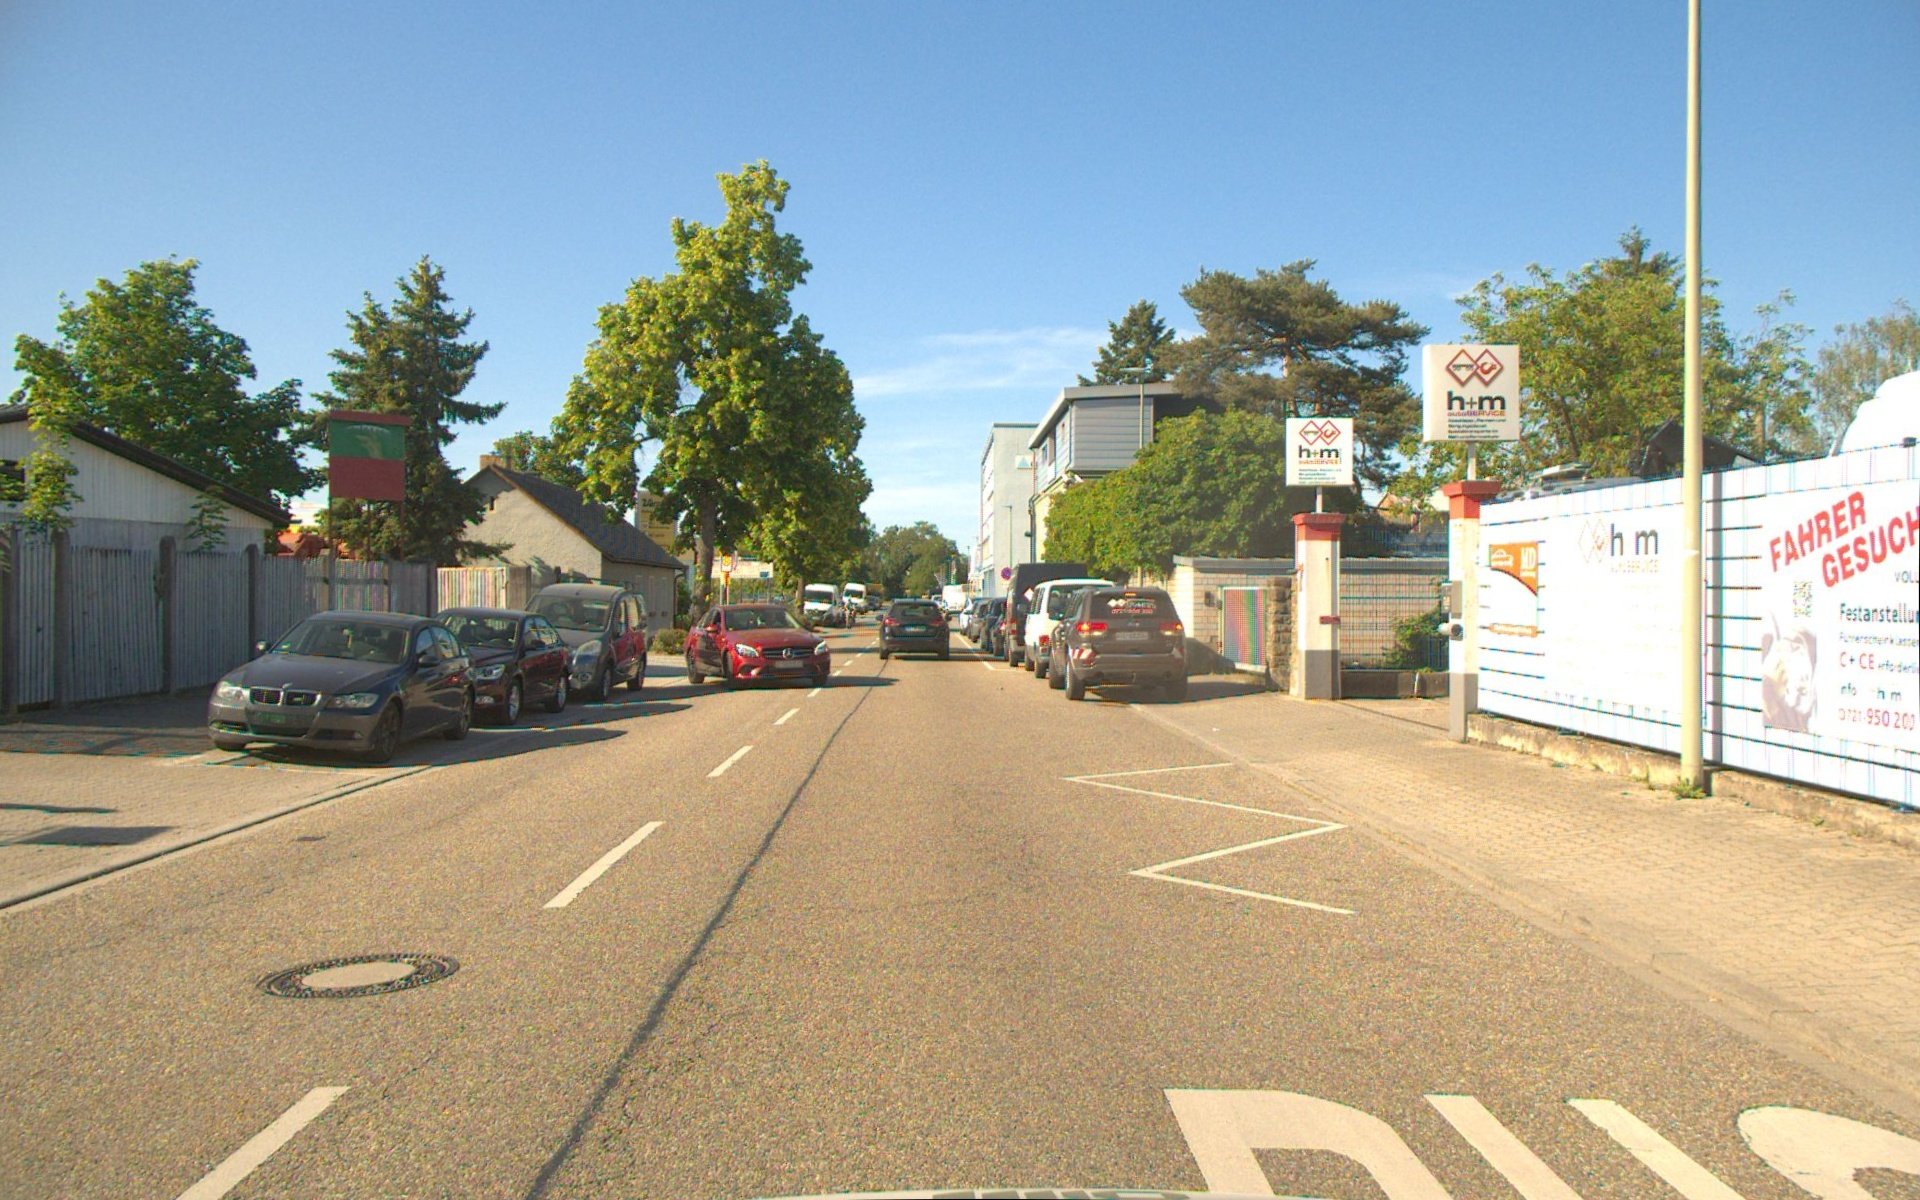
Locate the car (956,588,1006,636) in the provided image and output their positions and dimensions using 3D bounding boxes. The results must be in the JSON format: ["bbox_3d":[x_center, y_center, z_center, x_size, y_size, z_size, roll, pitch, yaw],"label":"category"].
[{"bbox_3d":[0.798,0.466,66.141,1.880,1.857,4.079,0,0,-1],"label":"car"}]

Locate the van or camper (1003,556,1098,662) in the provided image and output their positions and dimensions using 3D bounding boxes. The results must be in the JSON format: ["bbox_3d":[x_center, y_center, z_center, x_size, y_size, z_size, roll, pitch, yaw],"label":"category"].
[{"bbox_3d":[2.072,0.192,38.931,1.953,2.351,3.999,0,0,-1],"label":"van or camper"}]

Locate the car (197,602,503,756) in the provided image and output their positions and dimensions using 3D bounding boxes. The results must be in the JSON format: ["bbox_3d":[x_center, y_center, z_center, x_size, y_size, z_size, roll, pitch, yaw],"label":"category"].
[{"bbox_3d":[-6.471,0.762,18.122,1.721,1.428,4.557,0,0,-1],"label":"car"}]

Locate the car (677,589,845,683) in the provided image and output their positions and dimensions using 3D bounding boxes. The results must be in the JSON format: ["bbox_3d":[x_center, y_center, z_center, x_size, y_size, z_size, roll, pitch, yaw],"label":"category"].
[{"bbox_3d":[-3.648,0.589,29.777,1.852,1.511,4.012,-2,1,-25],"label":"car"}]

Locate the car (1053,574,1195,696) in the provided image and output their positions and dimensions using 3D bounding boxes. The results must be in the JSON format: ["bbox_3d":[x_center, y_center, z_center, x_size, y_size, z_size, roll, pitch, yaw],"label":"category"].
[{"bbox_3d":[2.620,0.528,27.262,1.880,1.857,4.079,0,0,-1],"label":"car"}]

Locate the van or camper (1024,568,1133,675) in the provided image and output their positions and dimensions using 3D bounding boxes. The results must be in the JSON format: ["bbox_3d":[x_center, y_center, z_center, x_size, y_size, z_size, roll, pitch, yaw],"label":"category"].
[{"bbox_3d":[2.349,0.397,33.779,1.880,2.055,4.079,0,0,-1],"label":"van or camper"}]

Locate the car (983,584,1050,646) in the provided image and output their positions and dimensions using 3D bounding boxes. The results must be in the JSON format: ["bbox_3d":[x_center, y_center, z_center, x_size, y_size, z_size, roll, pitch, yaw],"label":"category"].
[{"bbox_3d":[1.703,0.439,51.327,1.880,1.857,4.079,0,0,-1],"label":"car"}]

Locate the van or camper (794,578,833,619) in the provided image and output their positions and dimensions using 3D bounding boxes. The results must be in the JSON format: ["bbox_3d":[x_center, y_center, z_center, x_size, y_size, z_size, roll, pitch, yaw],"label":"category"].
[{"bbox_3d":[-8.861,-0.121,100.103,2.278,2.403,6.522,0,0,-5],"label":"van or camper"}]

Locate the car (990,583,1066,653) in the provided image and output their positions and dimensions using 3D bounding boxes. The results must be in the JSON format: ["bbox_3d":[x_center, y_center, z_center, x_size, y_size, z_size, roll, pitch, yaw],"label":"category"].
[{"bbox_3d":[1.856,0.455,46.018,1.880,1.857,4.079,0,0,-1],"label":"car"}]

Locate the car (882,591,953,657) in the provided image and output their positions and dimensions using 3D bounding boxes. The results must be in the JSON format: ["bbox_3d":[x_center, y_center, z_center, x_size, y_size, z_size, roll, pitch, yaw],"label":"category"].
[{"bbox_3d":[-1.024,0.558,41.716,1.676,1.559,3.687,0,1,0],"label":"car"}]

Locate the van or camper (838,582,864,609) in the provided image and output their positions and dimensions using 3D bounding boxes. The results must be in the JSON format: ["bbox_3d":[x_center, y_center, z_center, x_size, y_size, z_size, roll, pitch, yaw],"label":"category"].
[{"bbox_3d":[-9.880,-0.413,149.632,2.278,2.403,6.522,0,0,-5],"label":"van or camper"}]

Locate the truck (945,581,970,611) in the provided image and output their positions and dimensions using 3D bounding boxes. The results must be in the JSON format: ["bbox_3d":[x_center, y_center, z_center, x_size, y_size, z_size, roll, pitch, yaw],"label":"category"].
[{"bbox_3d":[-0.228,-0.347,132.885,1.953,2.327,6.954,0,0,-1],"label":"truck"}]

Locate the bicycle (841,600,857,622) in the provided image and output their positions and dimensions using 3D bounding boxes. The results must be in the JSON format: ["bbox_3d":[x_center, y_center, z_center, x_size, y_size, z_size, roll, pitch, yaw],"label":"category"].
[{"bbox_3d":[-6.112,0.570,91.155,0.812,1.173,2.939,0,0,-2],"label":"bicycle"}]

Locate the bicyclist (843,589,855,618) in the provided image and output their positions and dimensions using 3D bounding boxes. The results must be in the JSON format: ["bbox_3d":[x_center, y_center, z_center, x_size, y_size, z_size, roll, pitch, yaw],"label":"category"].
[{"bbox_3d":[-6.128,0.201,91.270,0.681,1.566,0.635,0,0,-3],"label":"bicyclist"}]

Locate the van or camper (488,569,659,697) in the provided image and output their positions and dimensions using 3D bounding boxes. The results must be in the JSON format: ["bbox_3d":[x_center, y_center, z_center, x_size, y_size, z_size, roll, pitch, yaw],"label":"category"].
[{"bbox_3d":[-6.381,0.516,27.800,1.852,1.959,4.266,-1,0,0],"label":"van or camper"}]

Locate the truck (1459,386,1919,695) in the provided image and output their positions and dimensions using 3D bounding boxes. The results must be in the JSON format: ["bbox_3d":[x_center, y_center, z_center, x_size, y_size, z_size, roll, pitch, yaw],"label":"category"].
[{"bbox_3d":[10.765,-0.739,22.303,7.230,3.837,2.830,0,0,-5],"label":"truck"}]

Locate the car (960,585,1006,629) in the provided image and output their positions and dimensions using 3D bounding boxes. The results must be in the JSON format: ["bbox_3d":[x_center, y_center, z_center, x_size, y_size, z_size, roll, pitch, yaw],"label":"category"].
[{"bbox_3d":[0.980,0.288,72.641,1.880,1.857,4.079,0,0,-1],"label":"car"}]

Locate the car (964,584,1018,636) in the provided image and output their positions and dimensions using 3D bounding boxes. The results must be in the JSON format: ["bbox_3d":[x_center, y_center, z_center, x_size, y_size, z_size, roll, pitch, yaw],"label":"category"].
[{"bbox_3d":[1.114,0.346,61.483,1.880,1.857,4.079,0,0,-1],"label":"car"}]

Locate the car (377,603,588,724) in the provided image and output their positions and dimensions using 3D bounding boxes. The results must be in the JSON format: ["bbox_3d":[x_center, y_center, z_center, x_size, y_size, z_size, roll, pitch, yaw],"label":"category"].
[{"bbox_3d":[-6.518,0.803,23.045,1.659,1.494,4.174,0,0,1],"label":"car"}]
